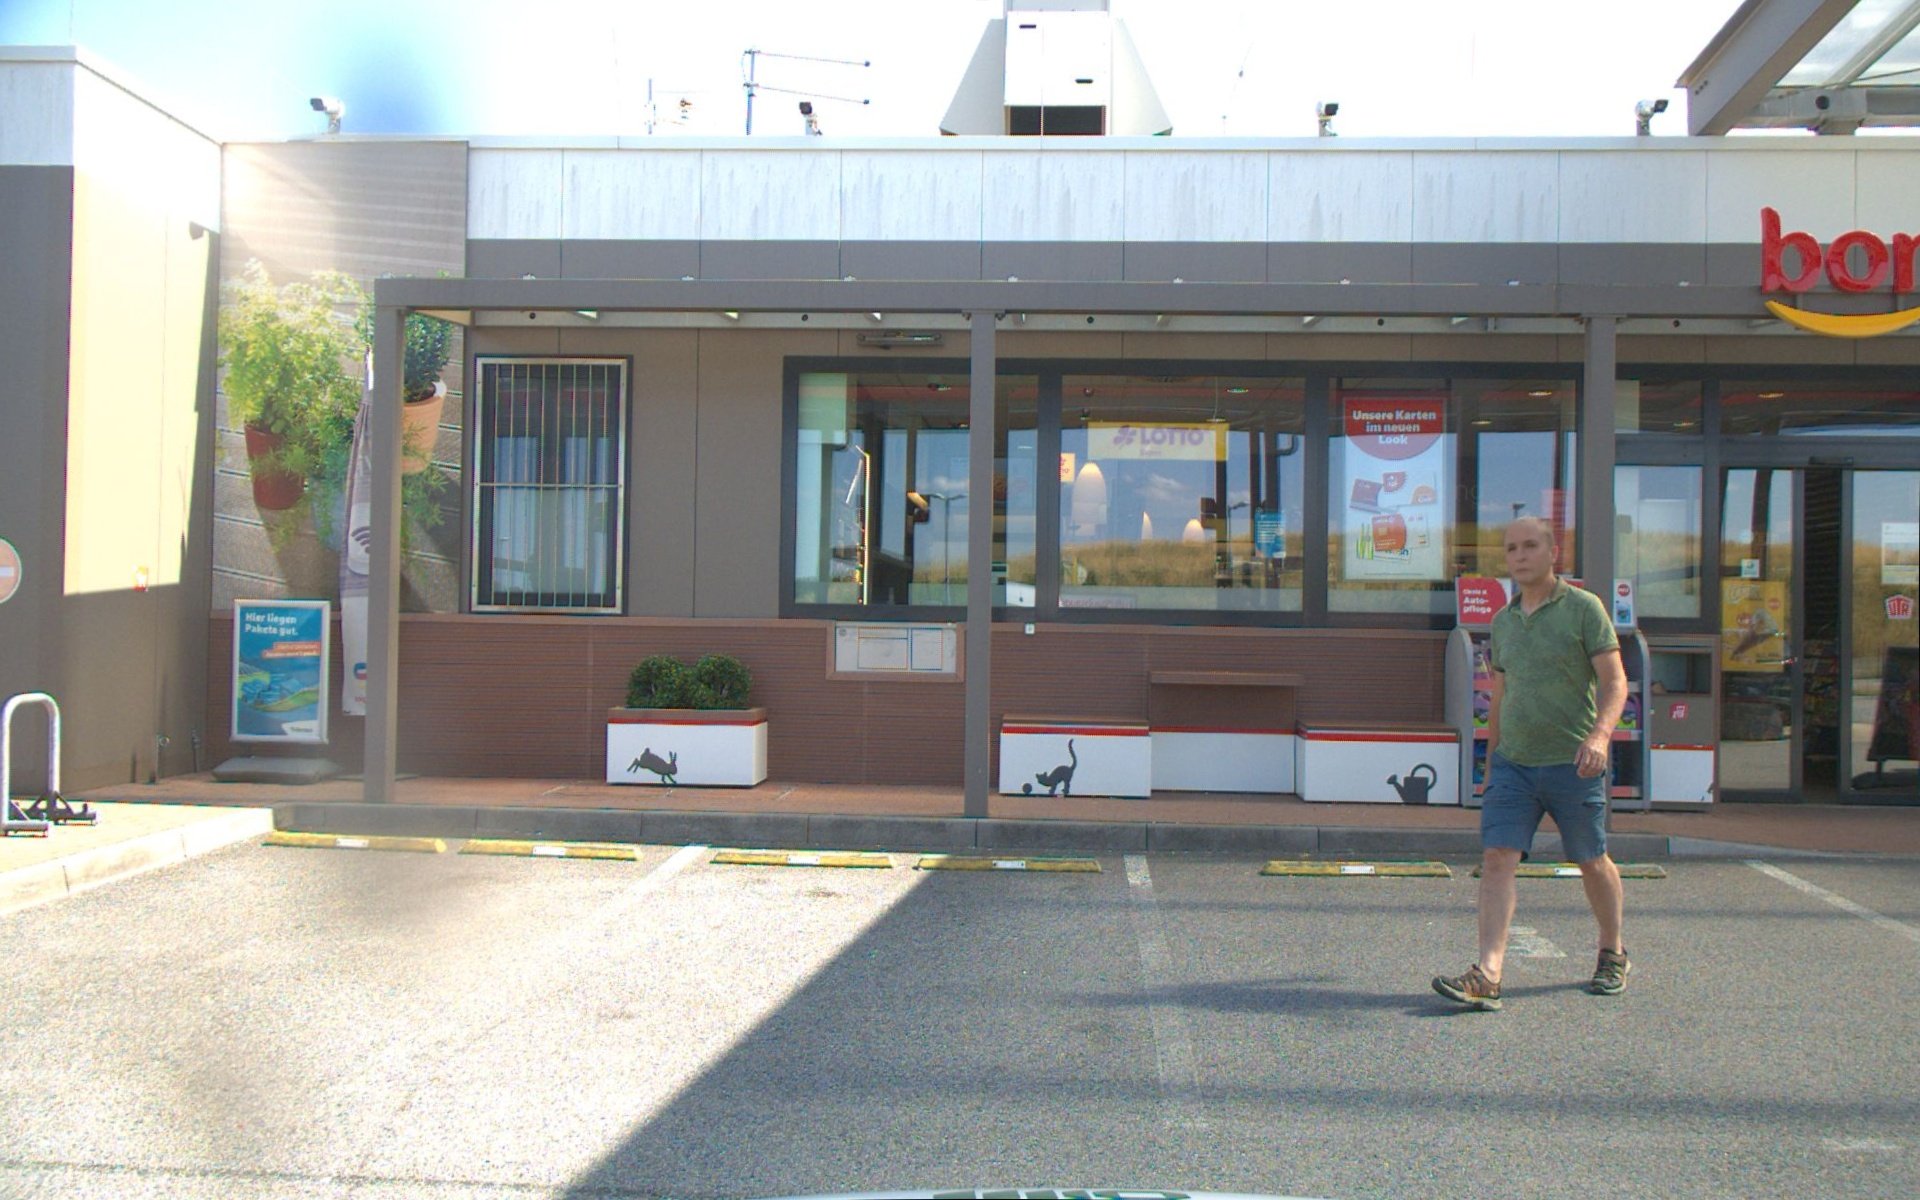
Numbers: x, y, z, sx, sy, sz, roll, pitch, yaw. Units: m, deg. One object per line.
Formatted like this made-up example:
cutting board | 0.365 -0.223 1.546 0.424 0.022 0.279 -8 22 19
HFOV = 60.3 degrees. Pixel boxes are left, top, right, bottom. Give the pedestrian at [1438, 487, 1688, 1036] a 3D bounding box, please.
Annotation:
pedestrian | 2.225 0.537 6.065 0.688 1.829 0.860 0 0 33
